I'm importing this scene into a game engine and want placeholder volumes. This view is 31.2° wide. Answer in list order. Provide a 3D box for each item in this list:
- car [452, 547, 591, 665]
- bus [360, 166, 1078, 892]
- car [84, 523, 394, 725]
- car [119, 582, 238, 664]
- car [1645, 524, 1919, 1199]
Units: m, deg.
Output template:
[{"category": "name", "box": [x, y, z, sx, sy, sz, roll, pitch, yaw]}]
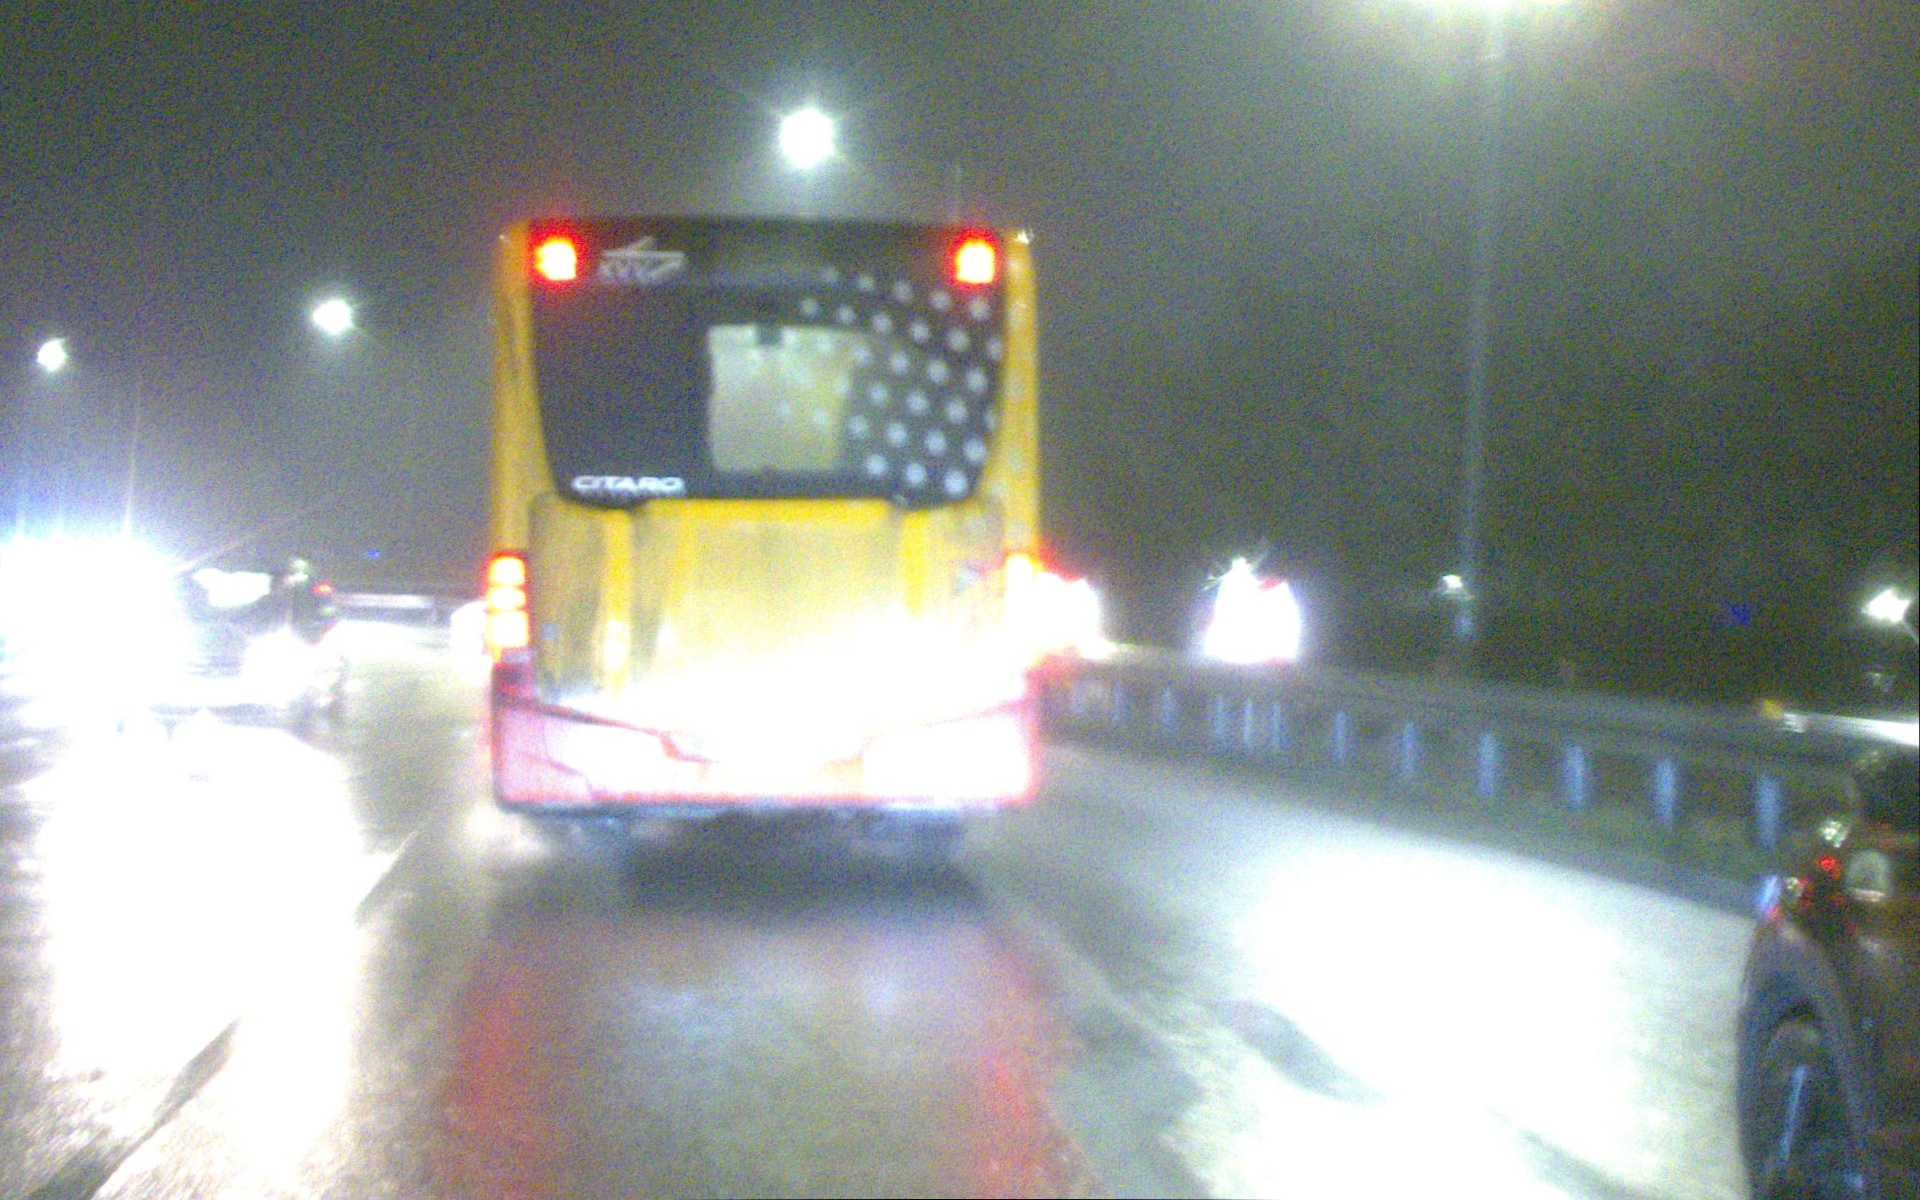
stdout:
[{"category": "car", "box": [-7.924, 0.084, 61.846, 1.993, 2.007, 4.001, 2, 1, -14]}, {"category": "bus", "box": [-1.482, -0.401, 21.398, 3.083, 3.122, 12.699, 1, 1, -4]}, {"category": "car", "box": [-6.542, 0.182, 31.693, 1.999, 1.669, 4.617, 2, 1, -2]}, {"category": "car", "box": [-15.230, 0.420, 67.152, 1.766, 1.512, 3.949, 1, 1, -6]}, {"category": "car", "box": [2.590, 0.663, 5.538, 1.855, 1.581, 4.001, 0, 0, -5]}]
